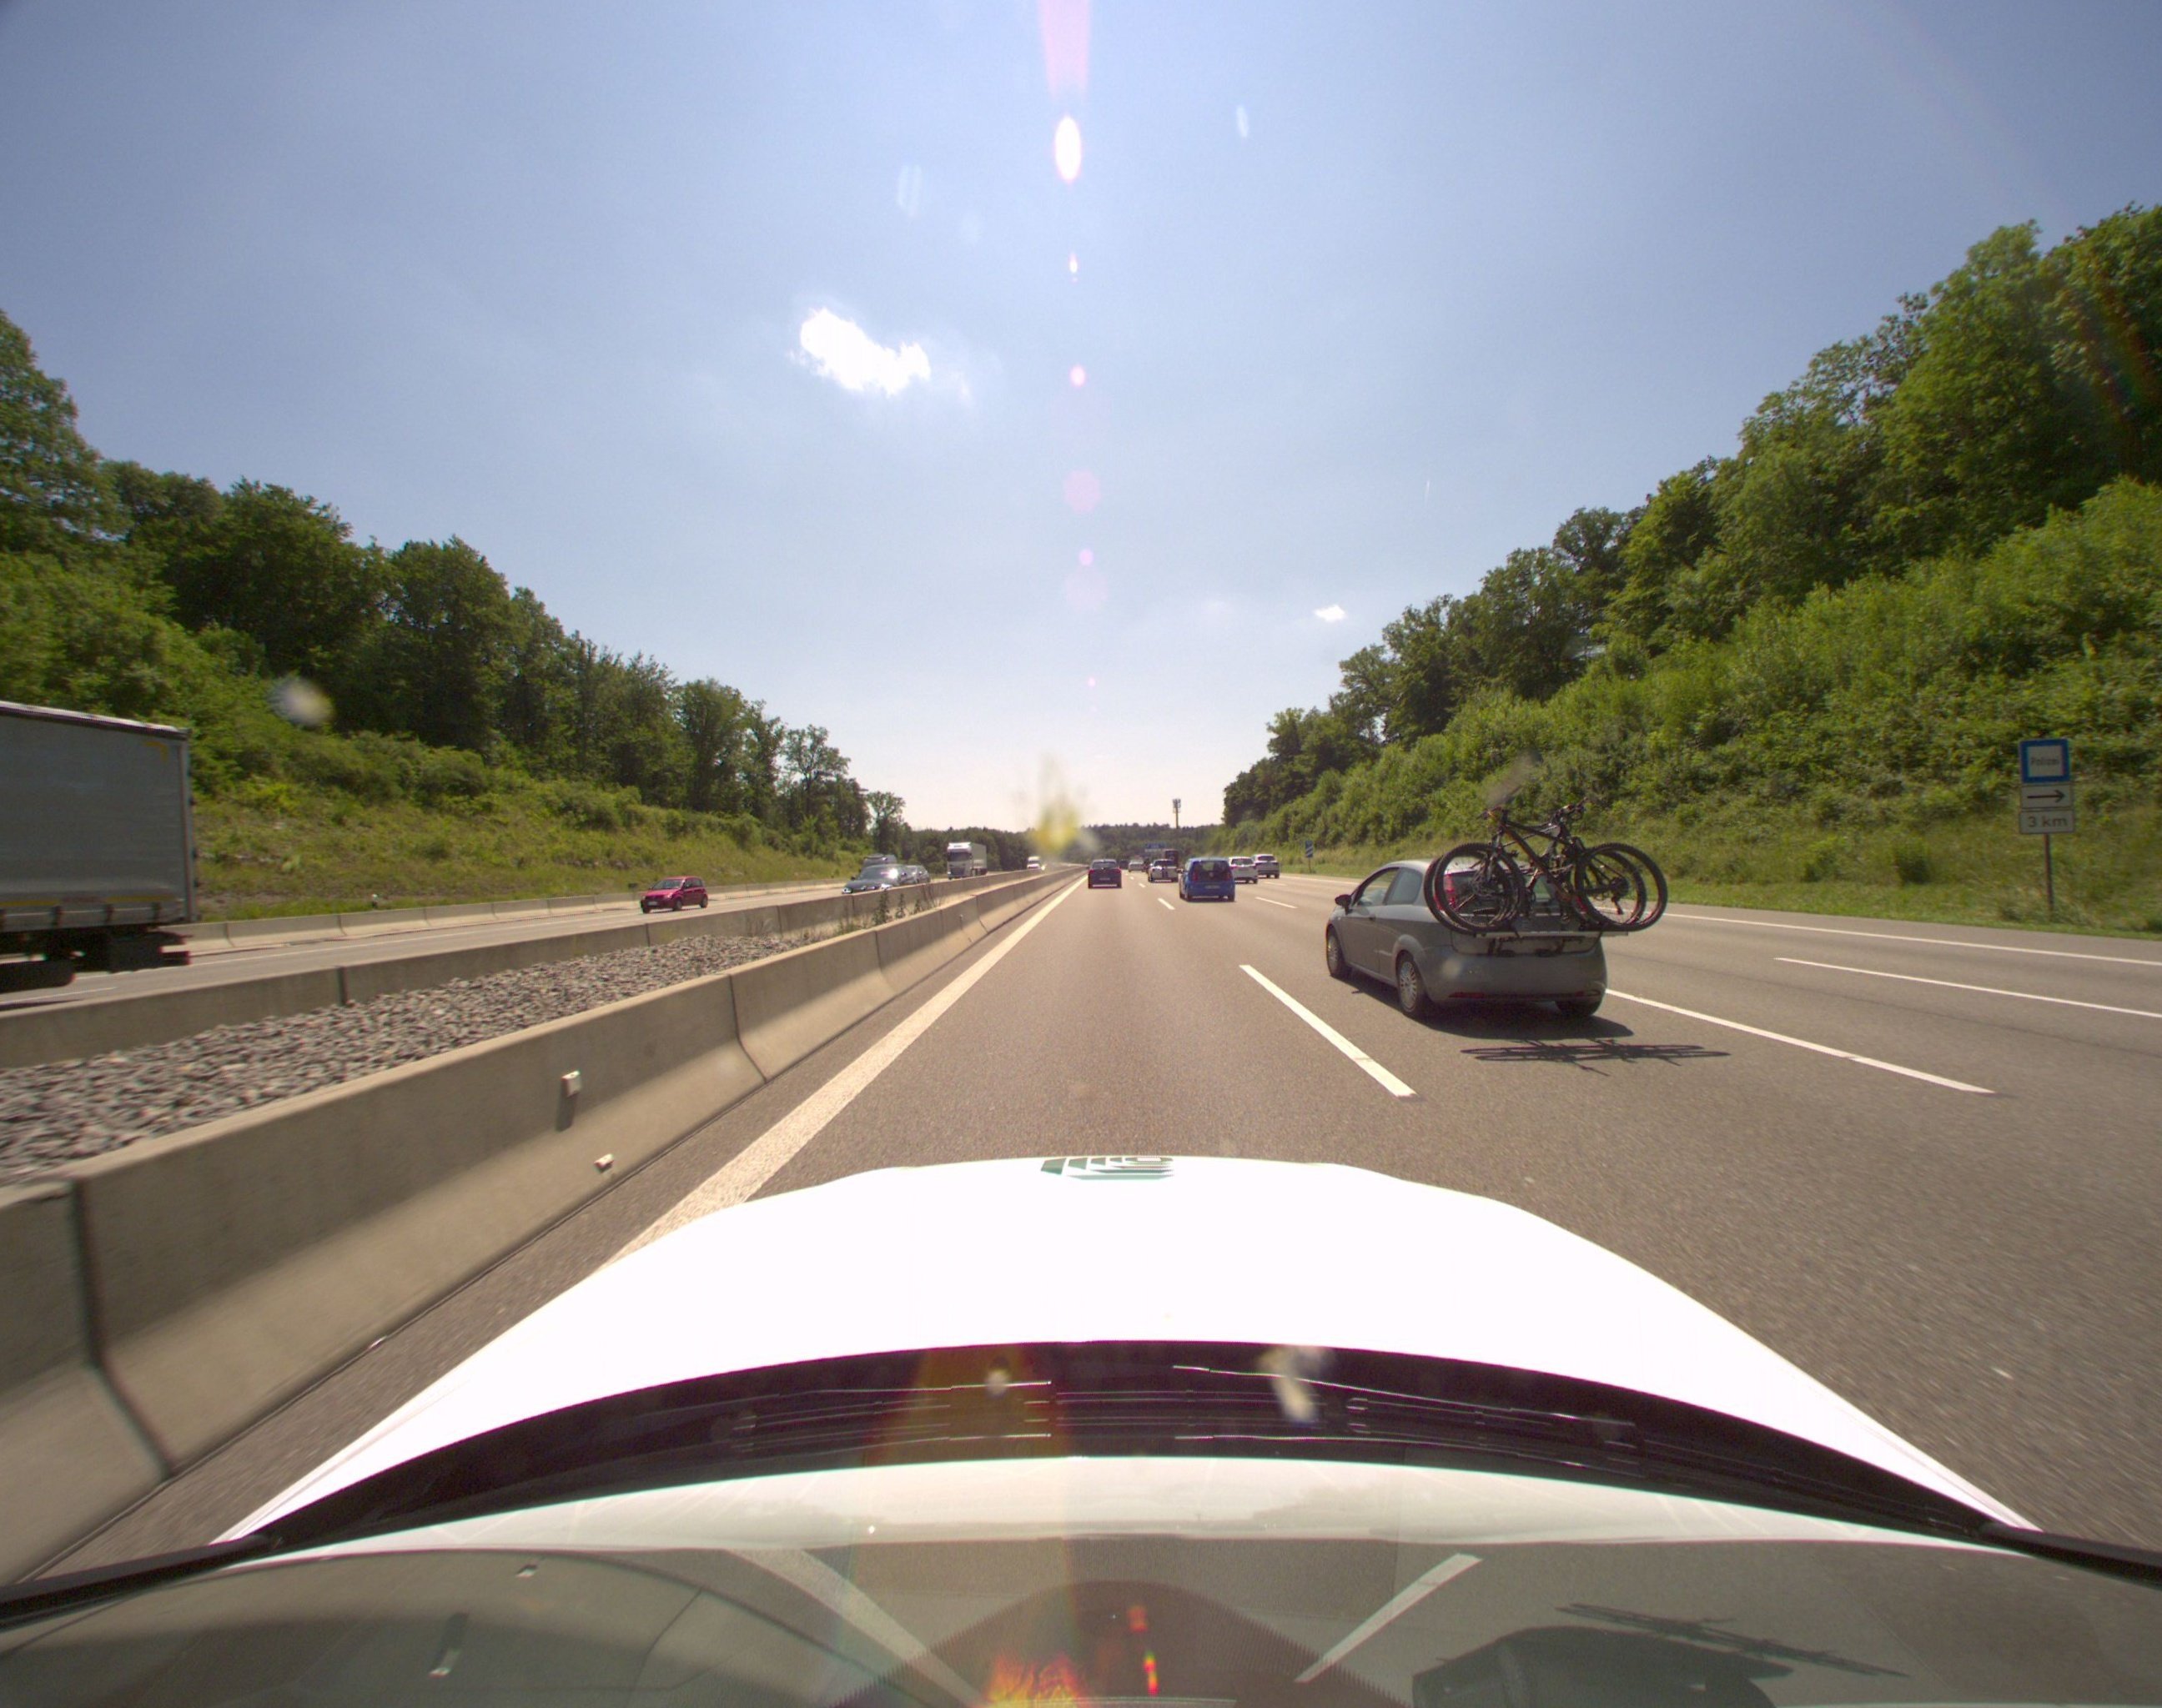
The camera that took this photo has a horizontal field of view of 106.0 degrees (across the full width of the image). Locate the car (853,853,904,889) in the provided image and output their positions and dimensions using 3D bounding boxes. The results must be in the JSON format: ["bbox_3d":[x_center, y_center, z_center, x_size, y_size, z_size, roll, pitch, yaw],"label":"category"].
[{"bbox_3d":[-16.512,1.334,66.901,2.133,2.663,6.781,-3,-1,2],"label":"car"}]

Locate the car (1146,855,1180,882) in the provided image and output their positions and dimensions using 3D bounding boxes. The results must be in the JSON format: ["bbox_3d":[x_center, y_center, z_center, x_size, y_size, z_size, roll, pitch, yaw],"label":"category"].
[{"bbox_3d":[5.005,0.912,49.995,1.834,1.552,4.001,2,-2,2],"label":"car"}]

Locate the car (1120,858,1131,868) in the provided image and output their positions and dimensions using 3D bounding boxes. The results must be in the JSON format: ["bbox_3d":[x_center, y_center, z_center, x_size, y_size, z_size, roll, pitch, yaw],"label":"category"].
[{"bbox_3d":[8.934,1.765,163.946,2.090,1.851,4.081,-2,-1,1],"label":"car"}]

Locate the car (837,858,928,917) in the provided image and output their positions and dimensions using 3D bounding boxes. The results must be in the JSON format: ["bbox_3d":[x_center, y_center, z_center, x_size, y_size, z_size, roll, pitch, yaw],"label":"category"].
[{"bbox_3d":[-6.750,1.083,28.165,1.864,1.777,4.470,-2,0,2],"label":"car"}]

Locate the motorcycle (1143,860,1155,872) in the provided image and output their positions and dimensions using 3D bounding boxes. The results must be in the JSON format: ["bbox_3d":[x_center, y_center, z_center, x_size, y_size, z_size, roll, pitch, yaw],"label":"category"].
[{"bbox_3d":[6.605,1.188,79.484,0.974,1.129,2.272,-2,0,1],"label":"motorcycle"}]

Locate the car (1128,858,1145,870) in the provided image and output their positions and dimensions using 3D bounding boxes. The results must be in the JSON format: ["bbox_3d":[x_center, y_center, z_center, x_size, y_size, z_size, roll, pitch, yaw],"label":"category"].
[{"bbox_3d":[6.398,1.140,94.239,1.775,1.265,3.462,-2,0,2],"label":"car"}]

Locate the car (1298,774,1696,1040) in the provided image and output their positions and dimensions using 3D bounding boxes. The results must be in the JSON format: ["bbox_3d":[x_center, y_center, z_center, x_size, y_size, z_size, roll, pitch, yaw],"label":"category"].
[{"bbox_3d":[3.864,0.417,8.729,1.954,2.053,4.786,-1,0,2],"label":"car"}]

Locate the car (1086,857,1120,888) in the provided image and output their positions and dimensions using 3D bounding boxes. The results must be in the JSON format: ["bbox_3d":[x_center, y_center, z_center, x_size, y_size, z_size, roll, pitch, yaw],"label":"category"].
[{"bbox_3d":[1.139,0.900,41.635,1.618,1.487,3.687,-1,0,2],"label":"car"}]

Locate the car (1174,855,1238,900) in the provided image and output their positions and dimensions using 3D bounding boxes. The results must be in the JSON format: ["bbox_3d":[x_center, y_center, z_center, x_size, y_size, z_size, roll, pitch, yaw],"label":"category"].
[{"bbox_3d":[4.298,0.797,28.483,1.730,1.411,4.001,-2,-1,2],"label":"car"}]

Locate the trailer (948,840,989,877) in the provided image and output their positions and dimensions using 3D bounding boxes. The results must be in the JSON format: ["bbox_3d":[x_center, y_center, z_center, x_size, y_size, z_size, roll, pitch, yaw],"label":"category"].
[{"bbox_3d":[-13.377,0.555,98.067,2.916,4.084,13.838,-1,-1,0],"label":"trailer"}]

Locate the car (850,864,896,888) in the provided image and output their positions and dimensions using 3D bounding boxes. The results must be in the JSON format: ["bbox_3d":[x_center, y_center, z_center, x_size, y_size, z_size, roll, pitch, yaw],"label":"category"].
[{"bbox_3d":[-13.301,1.383,52.283,1.661,1.407,4.441,-2,0,2],"label":"car"}]

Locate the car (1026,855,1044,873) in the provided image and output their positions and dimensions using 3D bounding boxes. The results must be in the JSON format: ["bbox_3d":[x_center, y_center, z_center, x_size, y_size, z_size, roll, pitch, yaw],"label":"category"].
[{"bbox_3d":[-7.446,1.656,132.498,2.078,2.800,7.604,-4,-1,1],"label":"car"}]

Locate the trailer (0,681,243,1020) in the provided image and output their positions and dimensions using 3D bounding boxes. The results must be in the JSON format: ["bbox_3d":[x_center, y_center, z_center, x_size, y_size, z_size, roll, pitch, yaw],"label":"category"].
[{"bbox_3d":[-15.191,0.014,6.079,3.089,4.253,13.844,-3,0,1],"label":"trailer"}]

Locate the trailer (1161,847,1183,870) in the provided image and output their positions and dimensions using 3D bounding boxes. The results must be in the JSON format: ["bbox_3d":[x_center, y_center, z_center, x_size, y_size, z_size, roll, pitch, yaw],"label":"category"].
[{"bbox_3d":[16.869,0.920,151.611,2.847,3.688,13.543,-2,-2,1],"label":"trailer"}]

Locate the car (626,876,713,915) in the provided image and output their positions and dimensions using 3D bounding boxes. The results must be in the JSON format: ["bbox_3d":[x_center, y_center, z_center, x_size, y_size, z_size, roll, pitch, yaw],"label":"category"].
[{"bbox_3d":[-18.183,1.807,36.171,1.864,1.500,3.721,-2,0,1],"label":"car"}]

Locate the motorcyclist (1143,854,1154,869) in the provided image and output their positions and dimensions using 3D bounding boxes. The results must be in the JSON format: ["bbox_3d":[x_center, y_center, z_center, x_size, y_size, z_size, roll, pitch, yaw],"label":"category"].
[{"bbox_3d":[6.580,0.716,79.470,0.959,1.437,1.235,-3,-1,1],"label":"motorcyclist"}]

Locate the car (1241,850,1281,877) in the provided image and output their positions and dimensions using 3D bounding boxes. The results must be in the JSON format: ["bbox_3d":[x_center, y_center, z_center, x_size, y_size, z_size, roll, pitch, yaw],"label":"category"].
[{"bbox_3d":[12.487,0.643,56.720,1.794,1.731,5.241,0,0,2],"label":"car"}]

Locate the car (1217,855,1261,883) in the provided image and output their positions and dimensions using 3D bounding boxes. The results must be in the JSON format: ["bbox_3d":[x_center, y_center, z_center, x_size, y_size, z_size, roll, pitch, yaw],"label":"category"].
[{"bbox_3d":[8.890,0.820,45.997,1.660,1.433,4.376,-2,0,1],"label":"car"}]

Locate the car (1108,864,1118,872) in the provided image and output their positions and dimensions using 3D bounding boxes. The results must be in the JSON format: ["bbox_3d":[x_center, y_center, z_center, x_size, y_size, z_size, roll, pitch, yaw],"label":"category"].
[{"bbox_3d":[7.078,3.077,180.559,1.989,1.684,4.419,0,0,-3],"label":"car"}]

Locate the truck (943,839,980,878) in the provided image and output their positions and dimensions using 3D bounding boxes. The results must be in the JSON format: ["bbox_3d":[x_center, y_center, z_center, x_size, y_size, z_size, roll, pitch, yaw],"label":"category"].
[{"bbox_3d":[-13.385,0.532,91.641,2.886,4.069,7.787,-2,0,0],"label":"truck"}]
